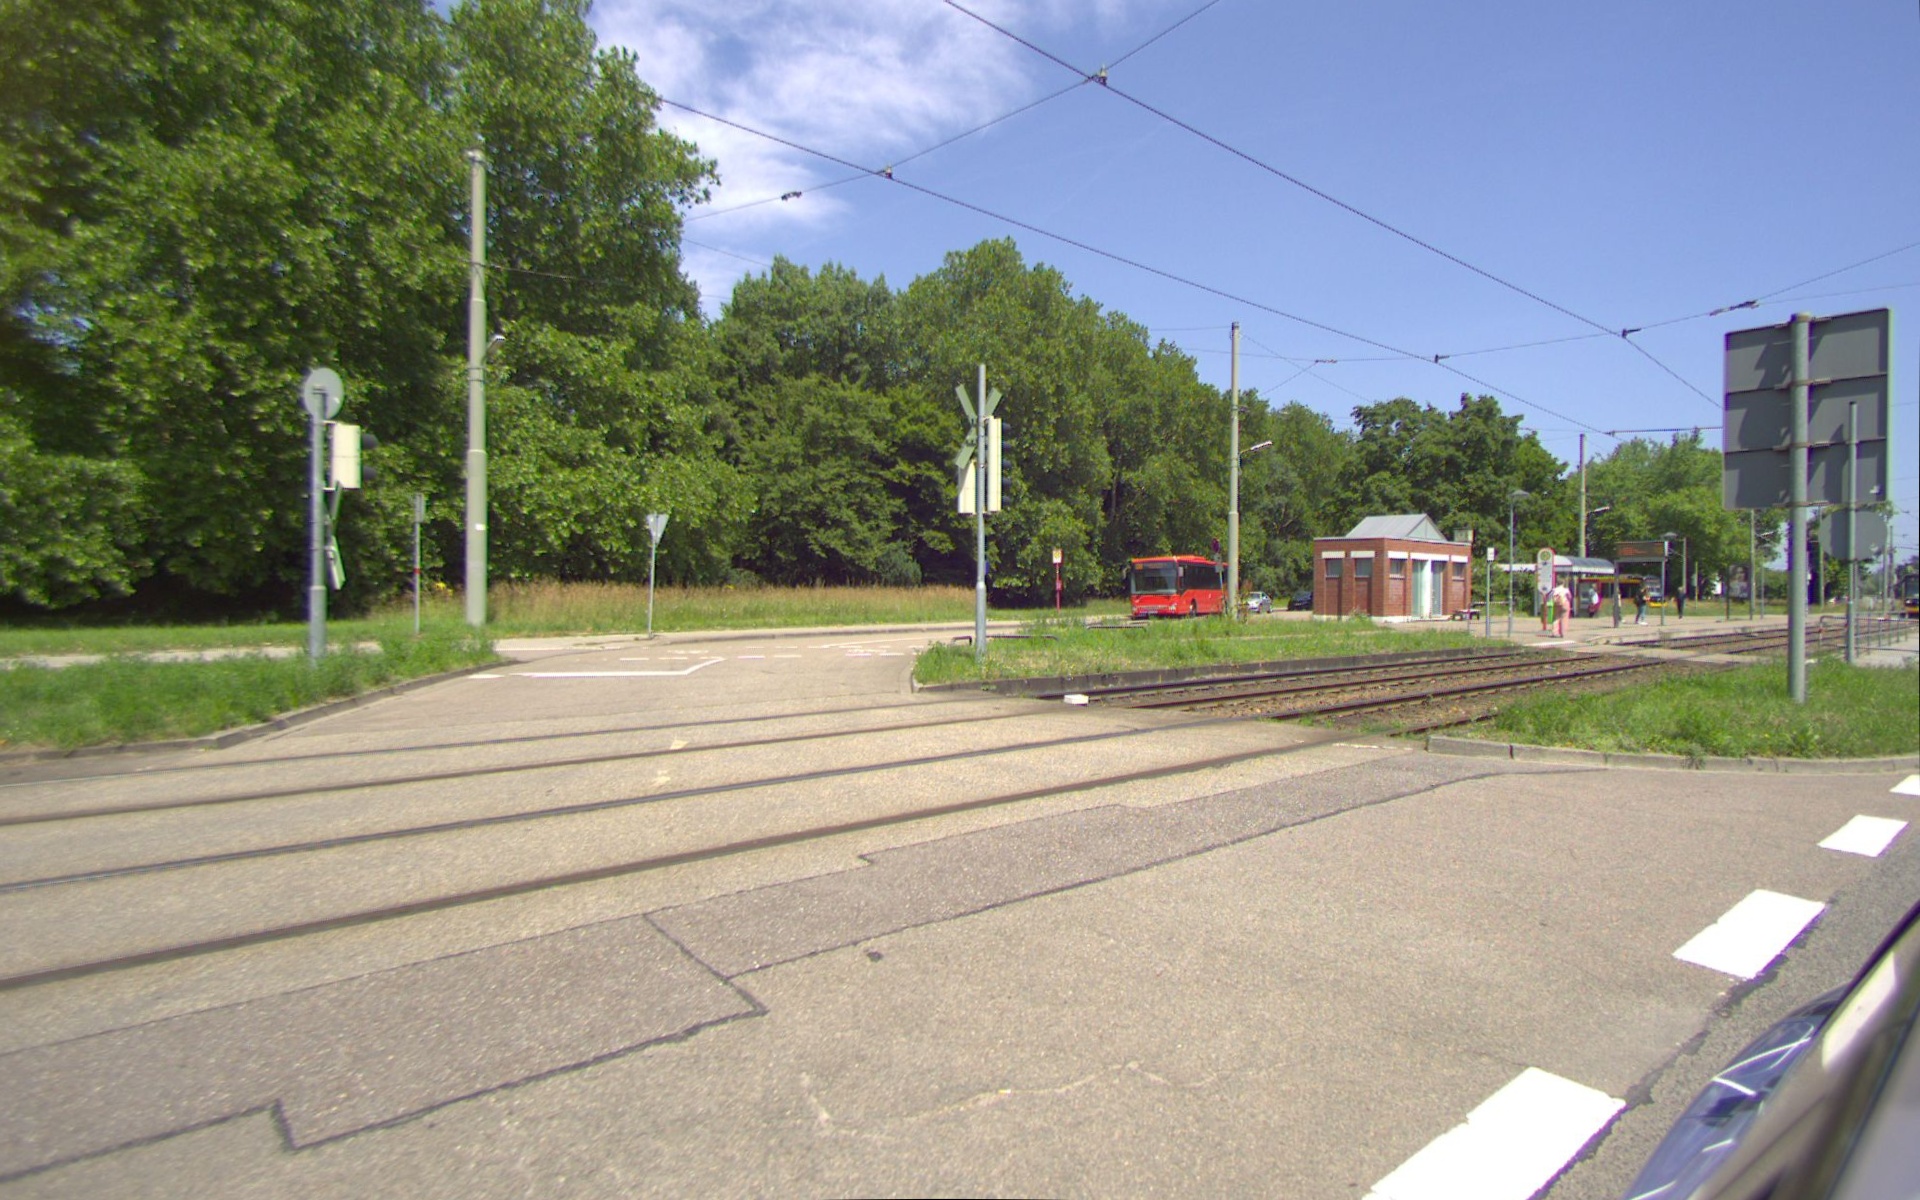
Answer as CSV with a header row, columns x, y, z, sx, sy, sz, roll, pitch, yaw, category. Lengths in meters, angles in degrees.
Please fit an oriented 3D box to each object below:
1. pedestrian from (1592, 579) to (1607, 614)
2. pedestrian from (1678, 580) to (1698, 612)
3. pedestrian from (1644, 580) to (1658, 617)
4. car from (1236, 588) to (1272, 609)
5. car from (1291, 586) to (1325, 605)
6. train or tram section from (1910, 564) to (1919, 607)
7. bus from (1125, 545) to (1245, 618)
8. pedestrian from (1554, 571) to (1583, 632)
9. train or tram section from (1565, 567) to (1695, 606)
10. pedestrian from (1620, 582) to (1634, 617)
x,y,z,sx,sy,sz,roll,pitch,yaw,category
32.497,-0.173,51.418,0.726,1.796,0.382,-1,-1,-38,pedestrian
40.239,-0.232,55.931,0.646,1.786,0.707,0,1,-39,pedestrian
31.183,-0.066,45.669,0.437,1.667,0.361,1,0,-38,pedestrian
19.138,-0.132,65.821,1.558,1.282,3.964,1,1,26,car
28.259,-0.387,82.117,1.872,1.530,3.958,1,1,30,car
78.329,-1.134,81.019,7.131,3.364,2.523,0,1,-40,train or tram section
12.345,-0.951,54.176,2.744,3.482,12.316,-1,0,30,bus
18.187,0.044,30.238,0.632,1.781,0.806,-1,0,36,pedestrian
68.636,-1.292,104.325,2.659,3.695,13.207,-1,0,-11,train or tram section
30.942,-0.009,46.953,0.474,1.617,0.361,-1,-1,-38,pedestrian
